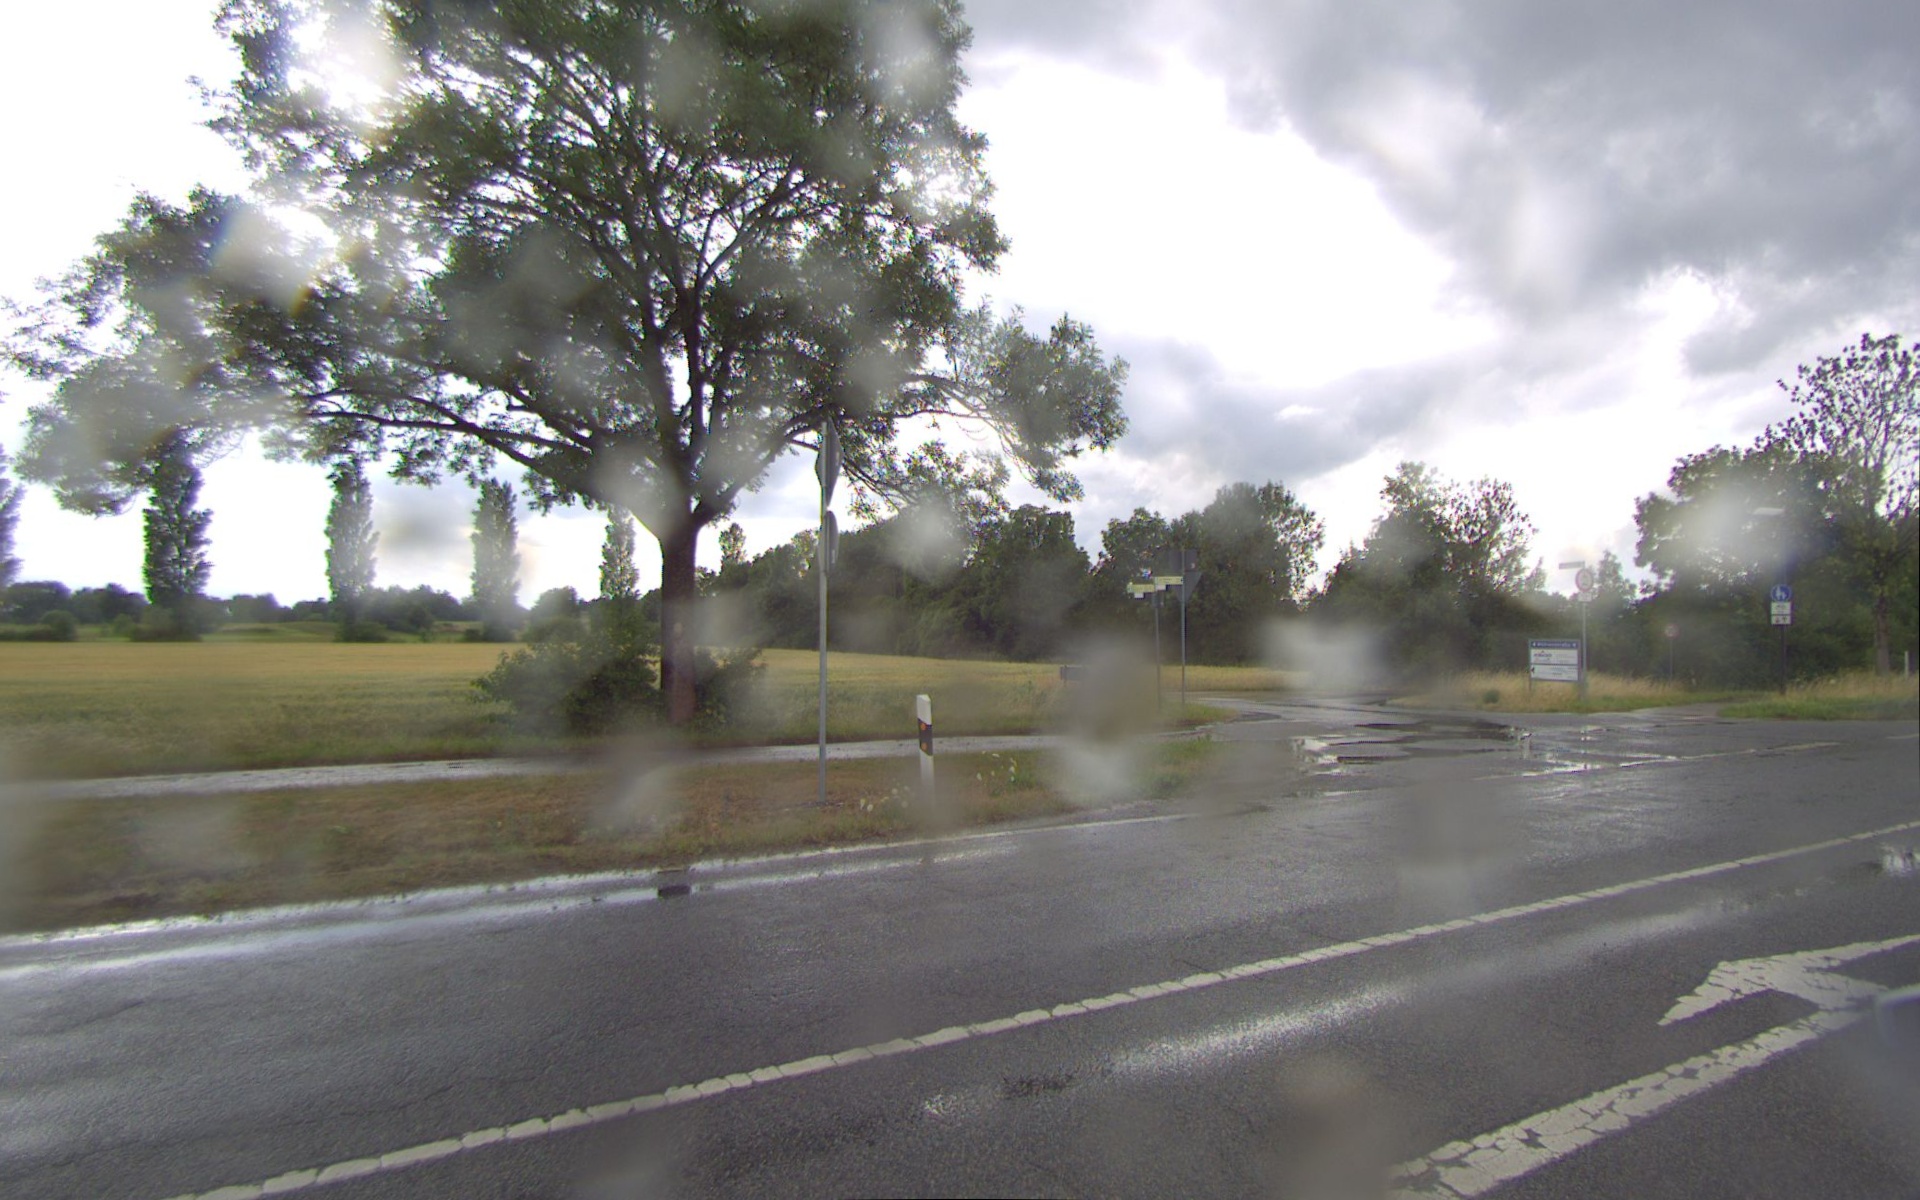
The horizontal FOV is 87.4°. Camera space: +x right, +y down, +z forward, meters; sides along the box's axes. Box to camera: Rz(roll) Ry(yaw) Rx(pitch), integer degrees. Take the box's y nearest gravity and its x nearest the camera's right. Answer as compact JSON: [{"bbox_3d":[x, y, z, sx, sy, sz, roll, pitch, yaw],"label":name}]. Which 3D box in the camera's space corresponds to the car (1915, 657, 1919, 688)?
[{"bbox_3d":[52.363,3.844,52.165,4.565,1.568,2.297,2,0,-22],"label":"car"}]
